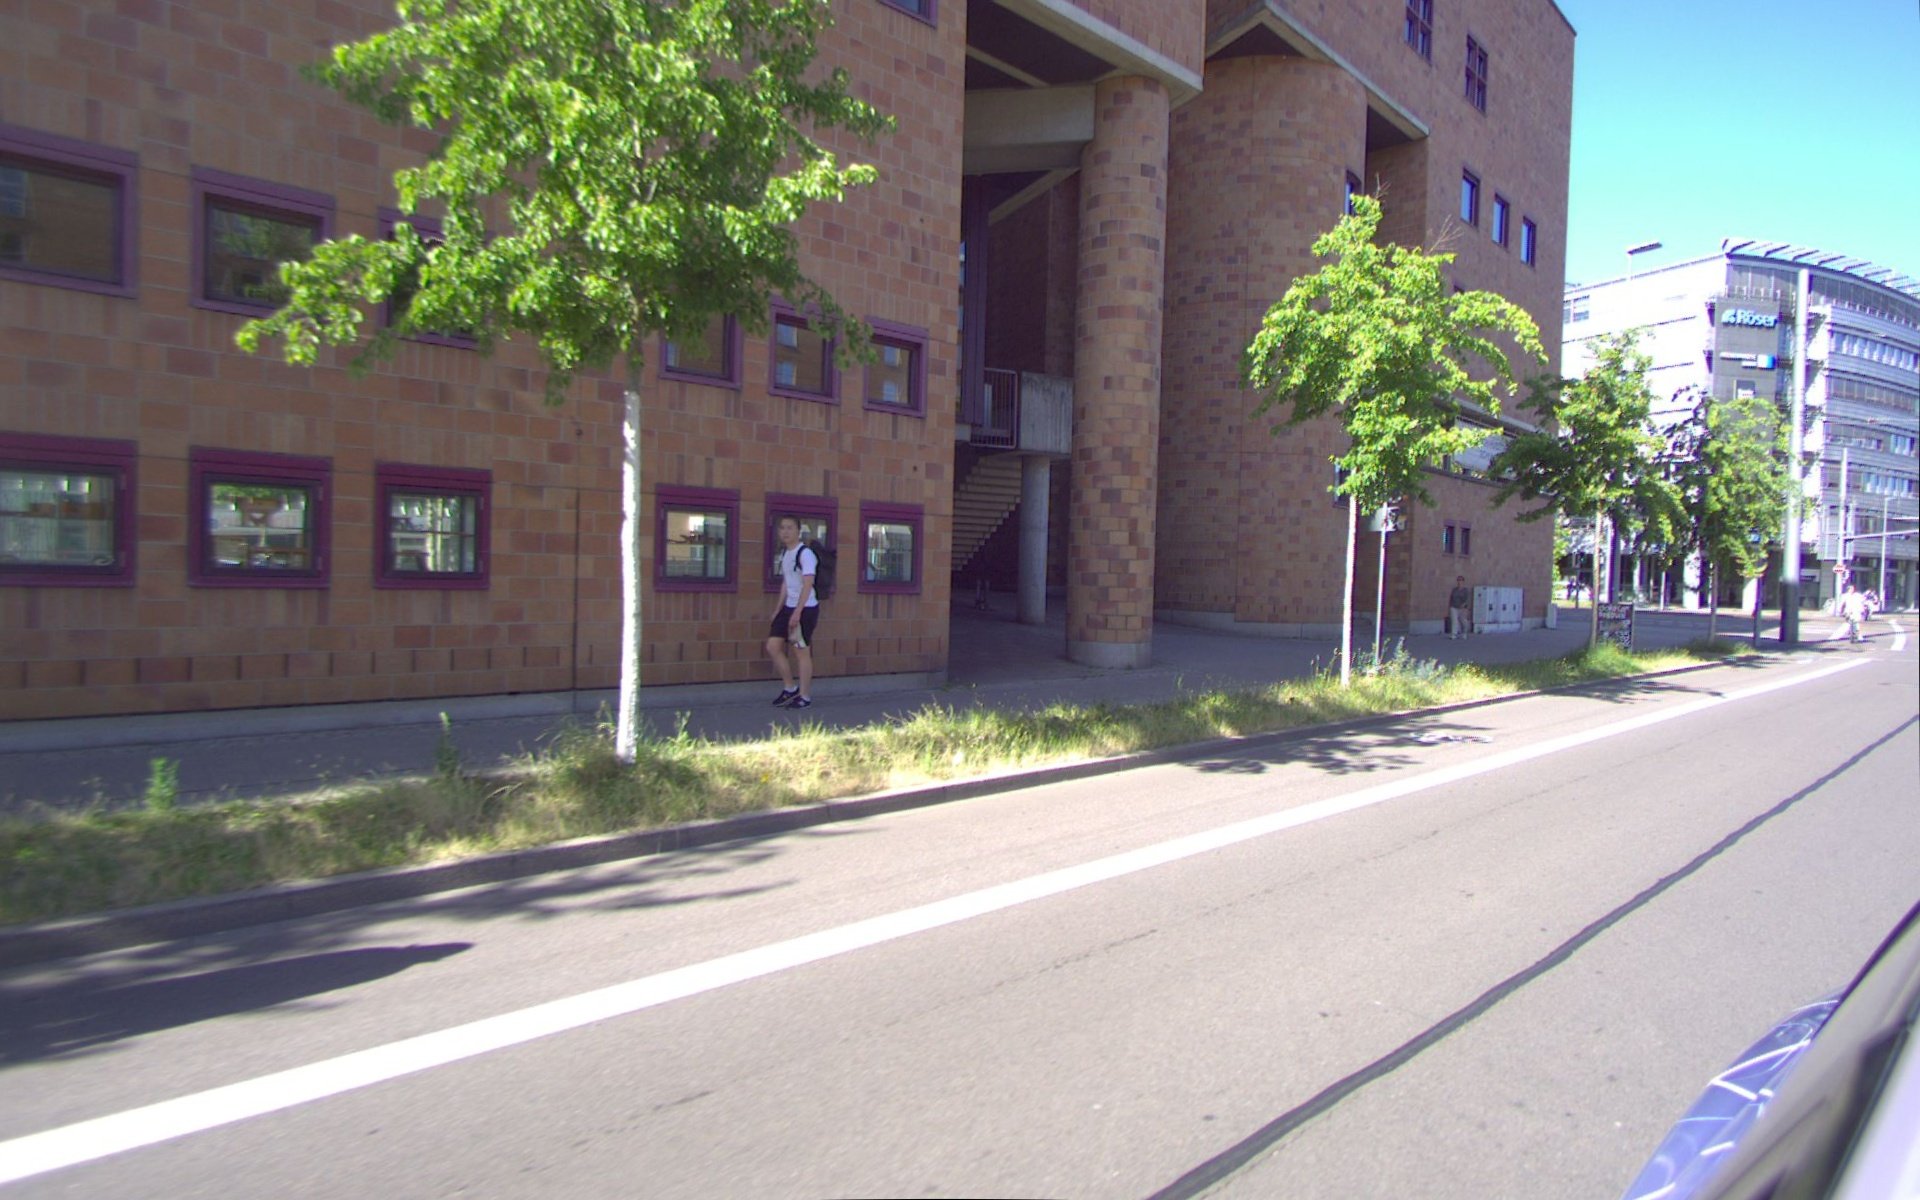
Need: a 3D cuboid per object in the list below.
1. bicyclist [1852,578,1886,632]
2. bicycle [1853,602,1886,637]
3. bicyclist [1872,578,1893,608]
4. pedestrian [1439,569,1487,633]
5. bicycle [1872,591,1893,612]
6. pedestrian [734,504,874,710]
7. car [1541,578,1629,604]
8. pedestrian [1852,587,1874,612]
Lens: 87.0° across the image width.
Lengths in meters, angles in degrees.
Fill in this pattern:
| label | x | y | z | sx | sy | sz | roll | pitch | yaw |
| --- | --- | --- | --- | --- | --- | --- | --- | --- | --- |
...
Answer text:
| label | x | y | z | sx | sy | sz | roll | pitch | yaw |
| --- | --- | --- | --- | --- | --- | --- | --- | --- | --- |
| bicyclist | 29.785 | 0.161 | 33.157 | 0.893 | 1.750 | 0.684 | 0 | 0 | -39 |
| bicycle | 29.847 | 0.626 | 33.219 | 1.480 | 1.110 | 0.578 | 0 | 0 | -39 |
| bicyclist | 50.355 | -0.363 | 55.243 | 0.747 | 1.637 | 0.755 | 0 | 0 | -37 |
| pedestrian | 13.167 | 0.012 | 26.469 | 0.960 | 1.639 | 0.789 | 0 | 2 | -43 |
| bicycle | 50.436 | 0.067 | 55.329 | 1.479 | 1.110 | 0.578 | 0 | 0 | -38 |
| pedestrian | -1.542 | 0.044 | 10.020 | 1.087 | 1.906 | 0.789 | 0 | 2 | -40 |
| car | 43.198 | -0.655 | 70.057 | 1.904 | 1.576 | 4.839 | -1 | 3 | -45 |
| pedestrian | 63.335 | -0.051 | 70.954 | 0.784 | 1.708 | 0.862 | 1 | 2 | -27 |
